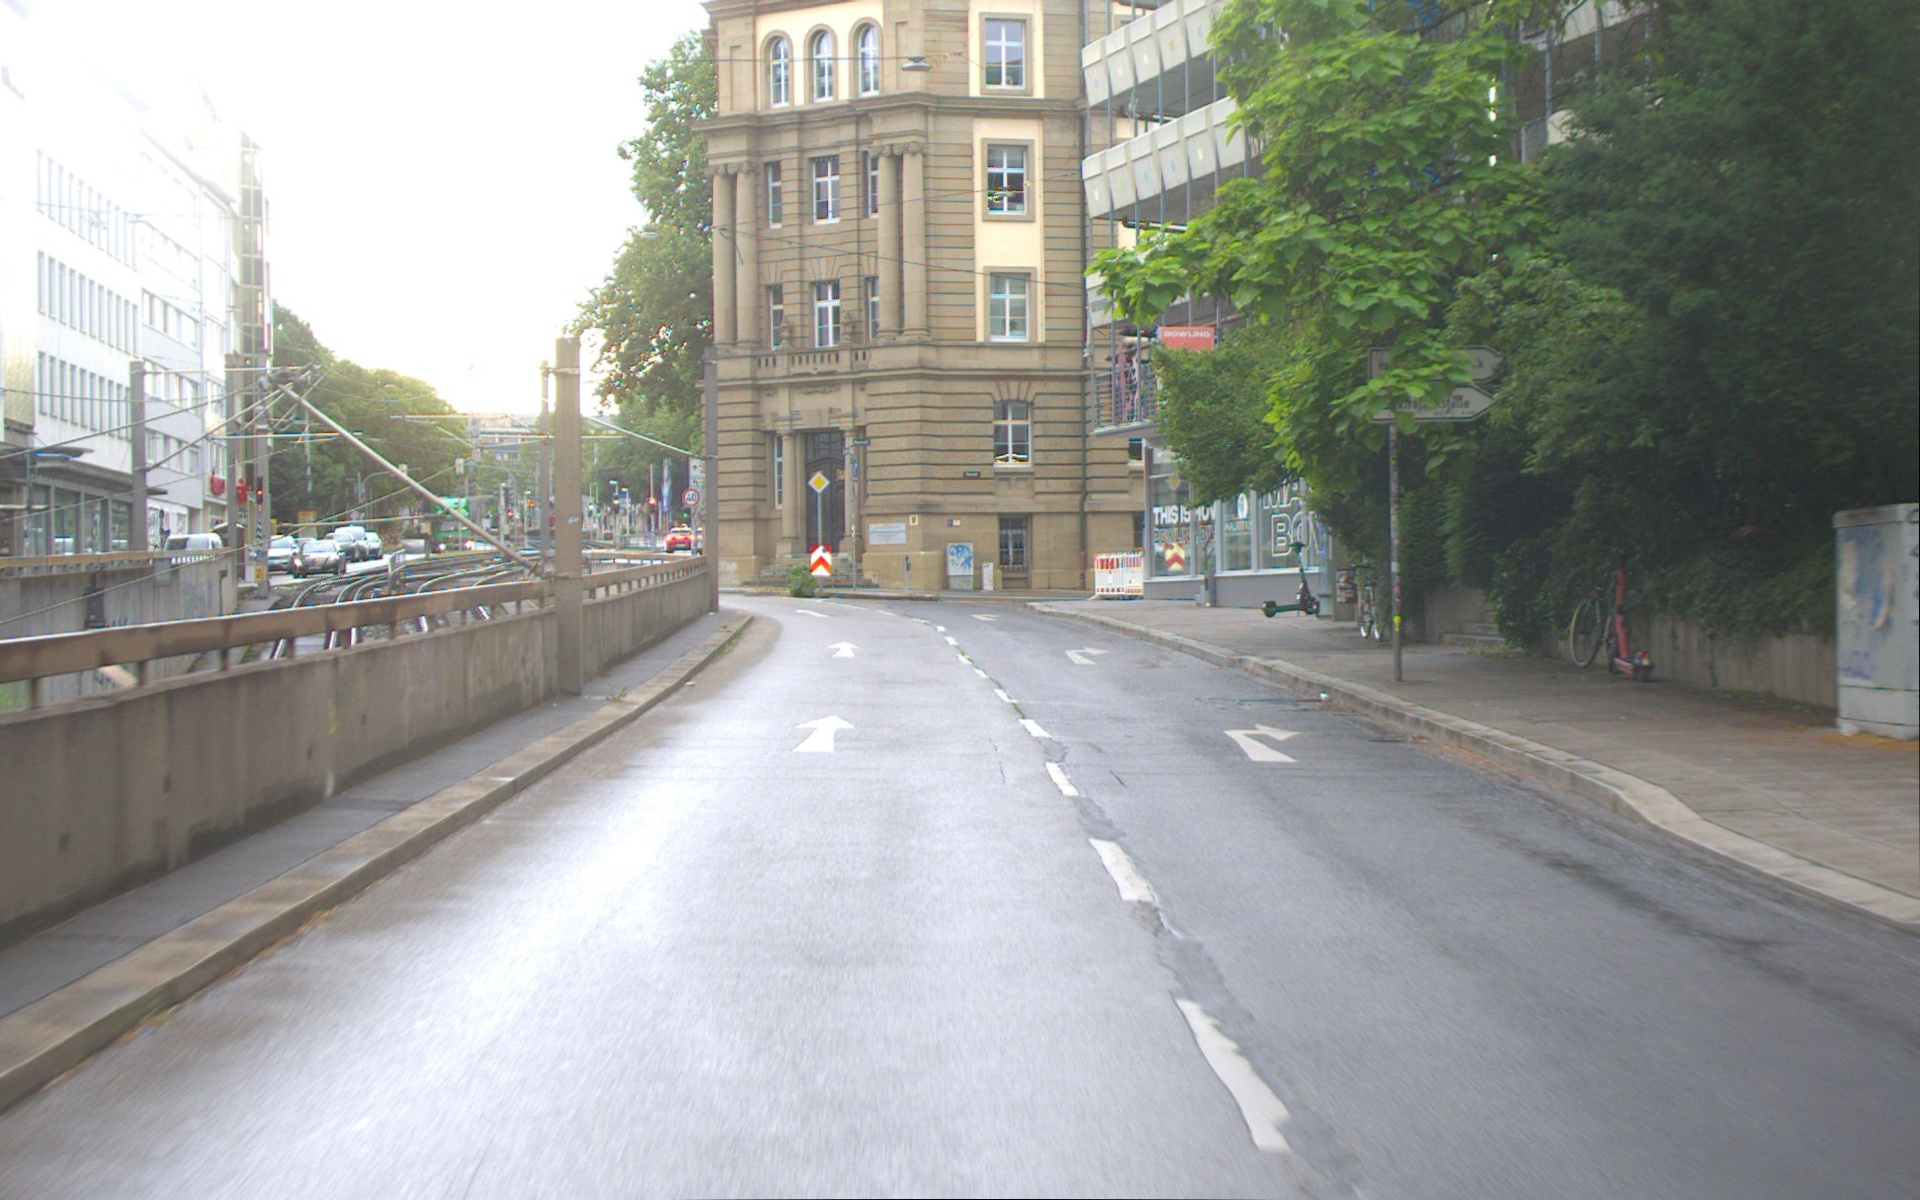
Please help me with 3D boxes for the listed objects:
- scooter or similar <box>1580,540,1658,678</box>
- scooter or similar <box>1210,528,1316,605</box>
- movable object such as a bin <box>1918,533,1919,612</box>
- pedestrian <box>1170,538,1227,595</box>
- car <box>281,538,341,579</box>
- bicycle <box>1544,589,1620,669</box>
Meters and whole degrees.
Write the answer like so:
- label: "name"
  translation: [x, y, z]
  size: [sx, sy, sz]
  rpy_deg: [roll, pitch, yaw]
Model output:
- label: "scooter or similar"
  translation: [6.151, 0.073, 32.134]
  size: [0.447, 1.255, 1.211]
  rpy_deg: [-1, 1, -1]
- label: "scooter or similar"
  translation: [5.177, -0.576, 58.659]
  size: [1.635, 1.263, 0.743]
  rpy_deg: [-2, 2, -26]
- label: "movable object such as a bin"
  translation: [6.949, 0.203, 22.031]
  size: [1.239, 1.305, 1.234]
  rpy_deg: [-2, 1, 0]
- label: "pedestrian"
  translation: [4.808, -0.682, 69.326]
  size: [0.752, 1.119, 1.247]
  rpy_deg: [1, 1, -15]
- label: "car"
  translation: [-25.172, -1.622, 133.432]
  size: [1.993, 1.522, 3.663]
  rpy_deg: [1, 1, -6]
- label: "bicycle"
  translation: [6.193, 0.280, 34.245]
  size: [0.500, 0.751, 1.211]
  rpy_deg: [-1, 1, -1]
